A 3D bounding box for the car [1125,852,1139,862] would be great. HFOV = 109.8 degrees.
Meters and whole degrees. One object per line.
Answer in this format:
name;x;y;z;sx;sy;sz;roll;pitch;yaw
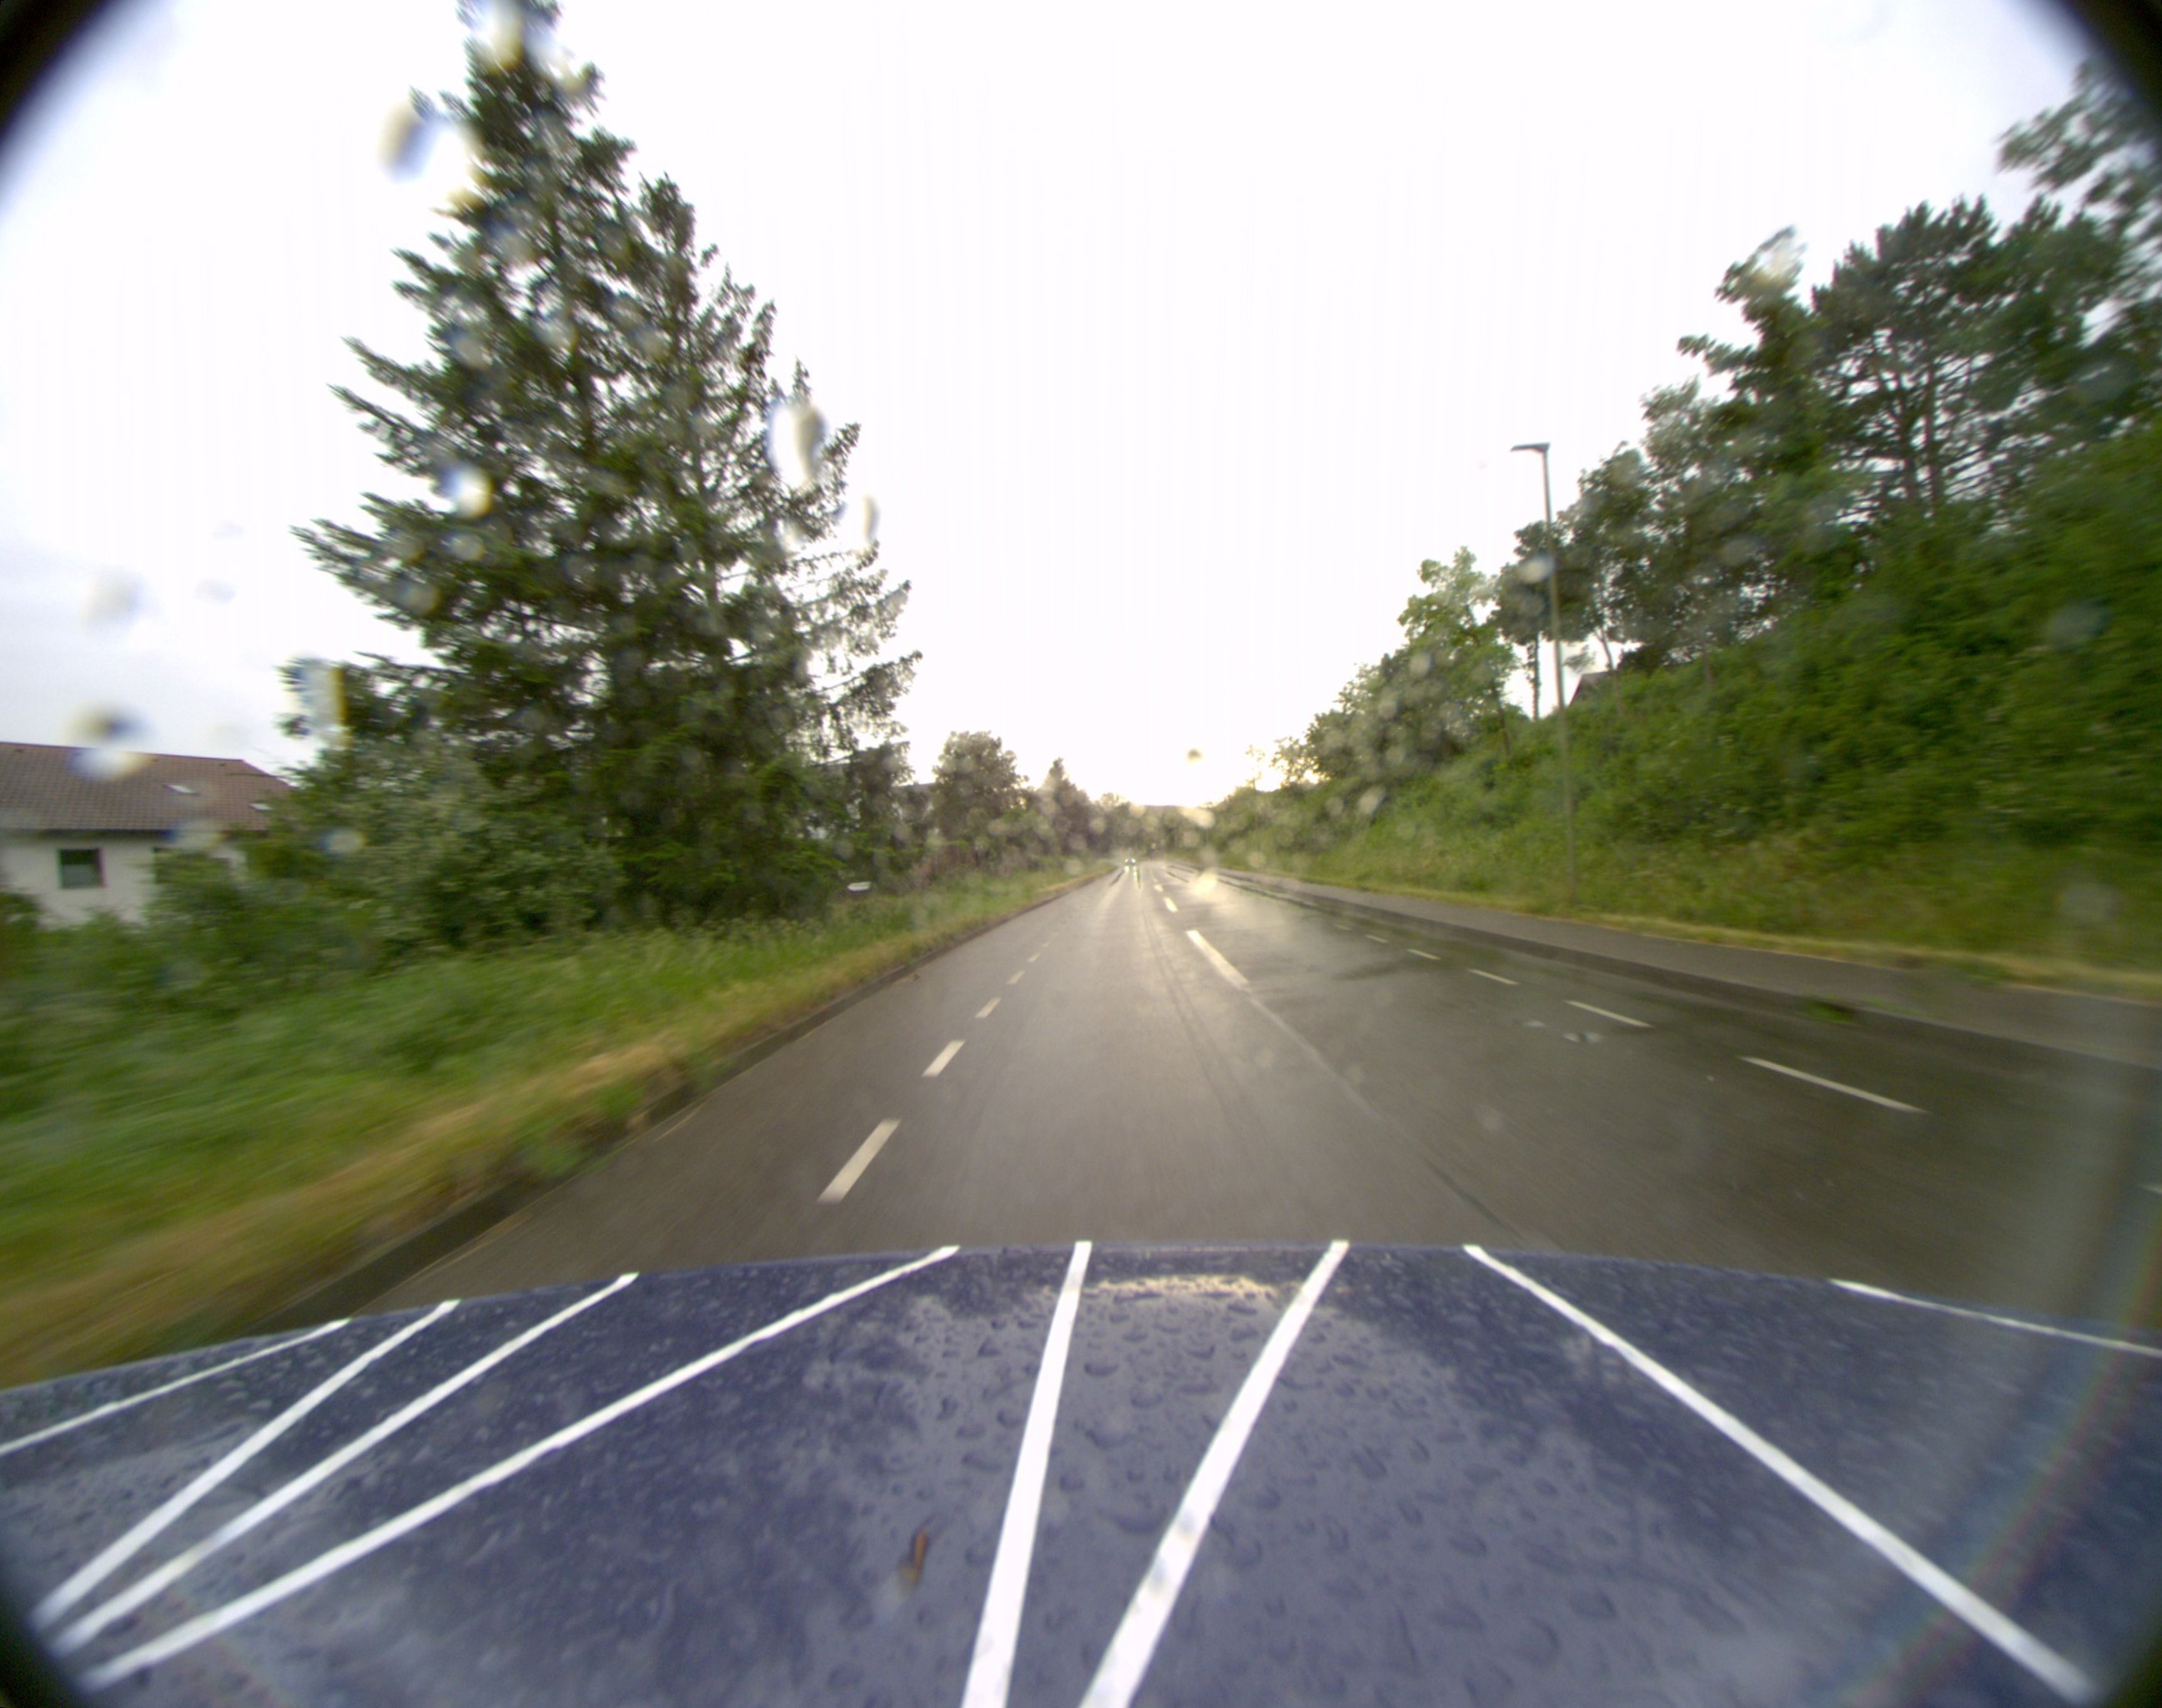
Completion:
car;8.564;0.518;128.039;1.880;1.596;3.999;-2;0;-2
